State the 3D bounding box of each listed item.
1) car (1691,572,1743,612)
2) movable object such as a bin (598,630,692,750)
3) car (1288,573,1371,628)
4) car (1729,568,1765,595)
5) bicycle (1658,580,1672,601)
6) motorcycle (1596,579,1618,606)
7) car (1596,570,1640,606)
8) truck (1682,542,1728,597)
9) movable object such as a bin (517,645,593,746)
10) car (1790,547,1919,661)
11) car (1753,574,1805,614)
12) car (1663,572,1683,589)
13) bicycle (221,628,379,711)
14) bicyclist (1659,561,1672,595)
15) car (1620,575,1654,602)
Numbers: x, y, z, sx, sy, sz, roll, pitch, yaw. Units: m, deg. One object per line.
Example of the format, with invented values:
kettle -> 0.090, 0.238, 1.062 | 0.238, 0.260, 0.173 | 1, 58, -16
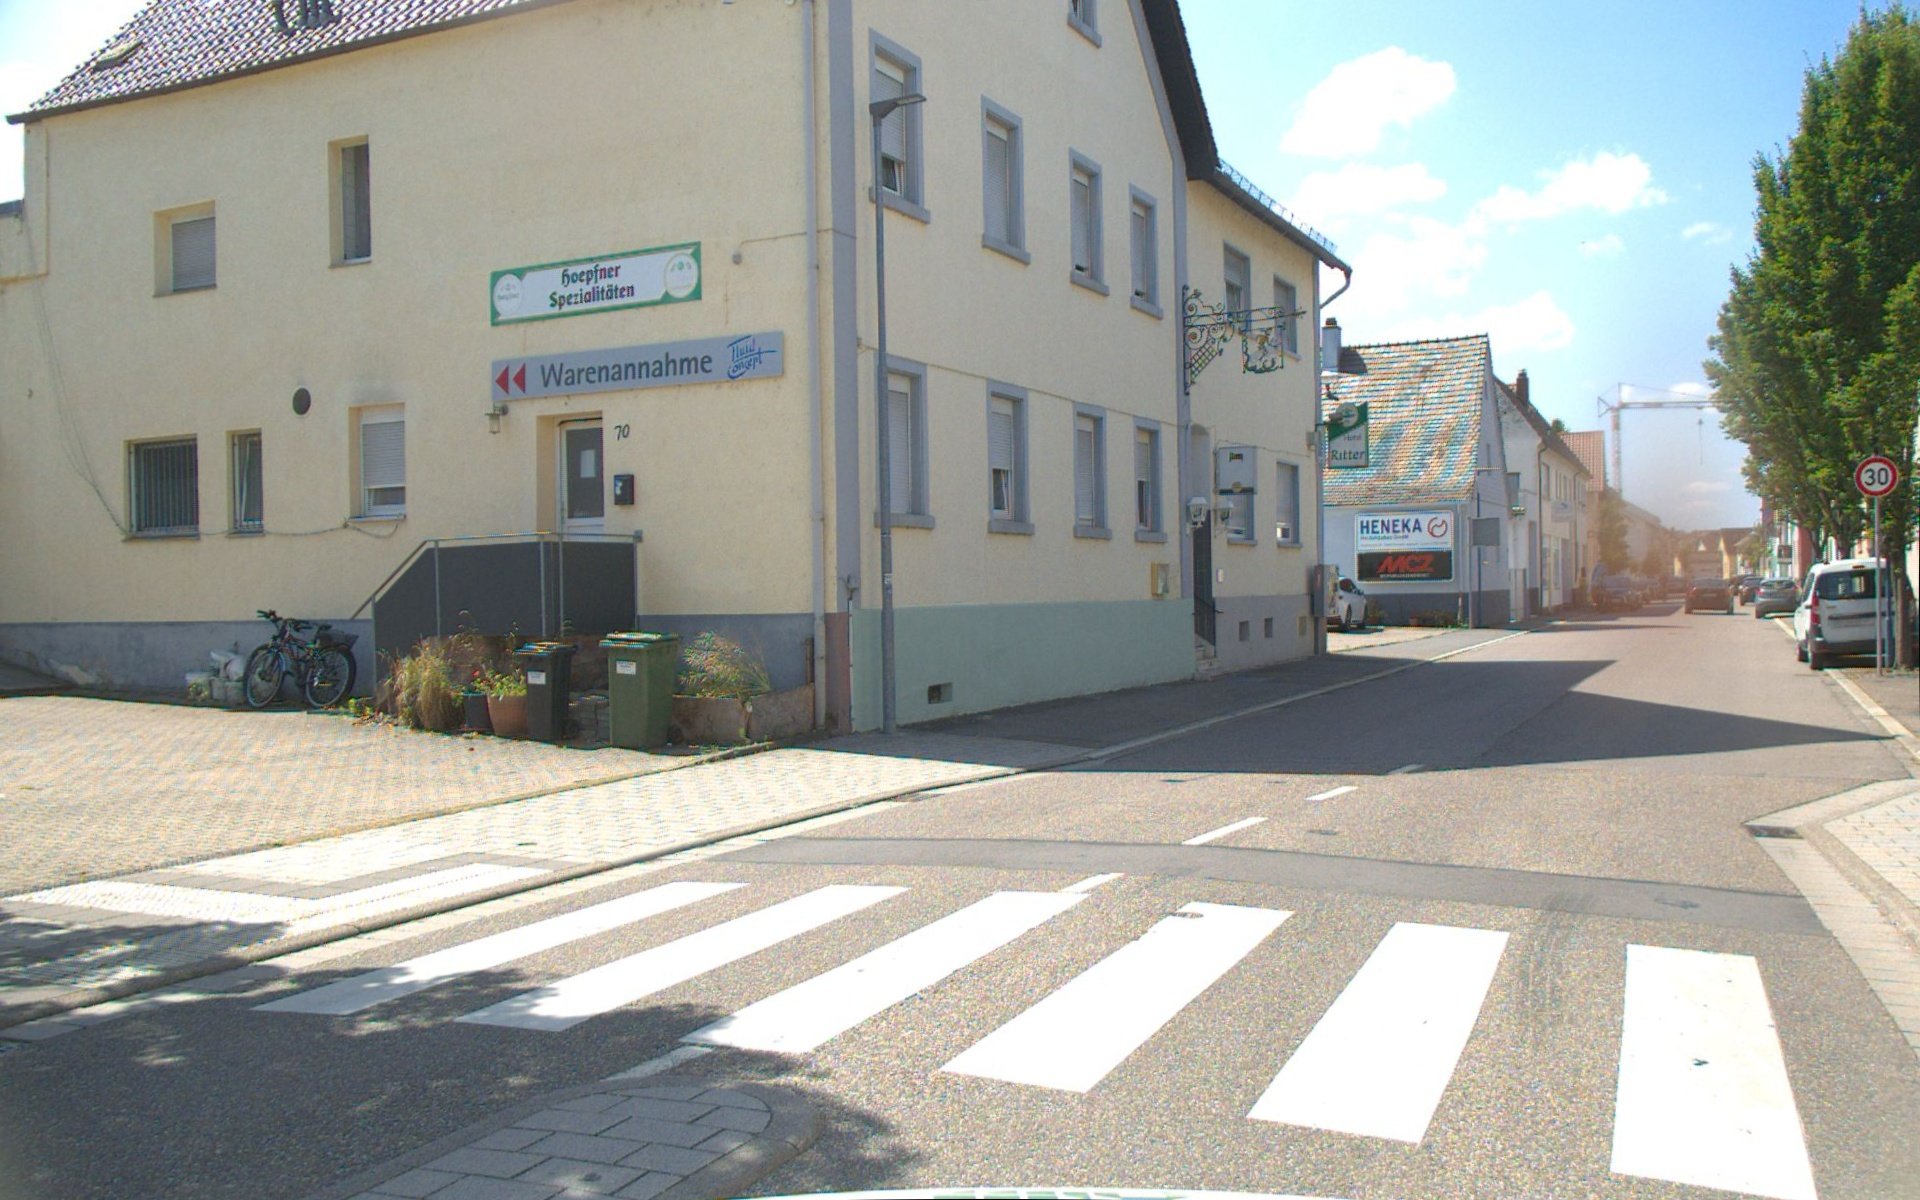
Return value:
car -> 31.354, -0.333, 68.478 | 1.865, 1.591, 4.473 | 0, 1, 26
movable object such as a bin -> -3.018, 0.848, 15.860 | 0.588, 1.097, 0.657 | -1, 0, 27
car -> 11.126, -0.024, 49.667 | 1.685, 1.583, 4.198 | 1, 1, 23
car -> 42.120, -1.004, 88.577 | 1.685, 1.379, 4.154 | 0, 1, 25
bicycle -> 43.720, -0.589, 102.563 | 0.736, 1.330, 2.684 | 1, 1, 24
motorcycle -> 29.370, -0.336, 75.023 | 0.829, 1.190, 2.468 | 1, 1, 23
car -> 31.230, -0.580, 78.422 | 1.773, 1.617, 3.998 | 0, 1, 24
truck -> 61.130, -2.432, 135.561 | 3.083, 4.324, 9.293 | 1, 1, 26
movable object such as a bin -> -3.956, 0.927, 16.178 | 0.470, 0.944, 0.546 | -1, 0, 27
car -> 15.789, 0.043, 29.226 | 1.685, 1.821, 4.143 | -2, 0, 23
car -> 31.048, -0.249, 62.712 | 1.686, 1.487, 4.152 | 0, 1, 26
car -> 71.014, -1.926, 164.621 | 1.773, 1.617, 3.998 | 0, 1, 24
bicycle -> -7.859, 0.818, 19.644 | 2.129, 0.929, 0.541 | -2, 0, 31
bicyclist -> 43.774, -1.363, 102.643 | 0.725, 2.095, 0.844 | 1, 0, 24
car -> 41.439, -0.734, 101.201 | 1.773, 1.617, 3.998 | 0, 1, 24
